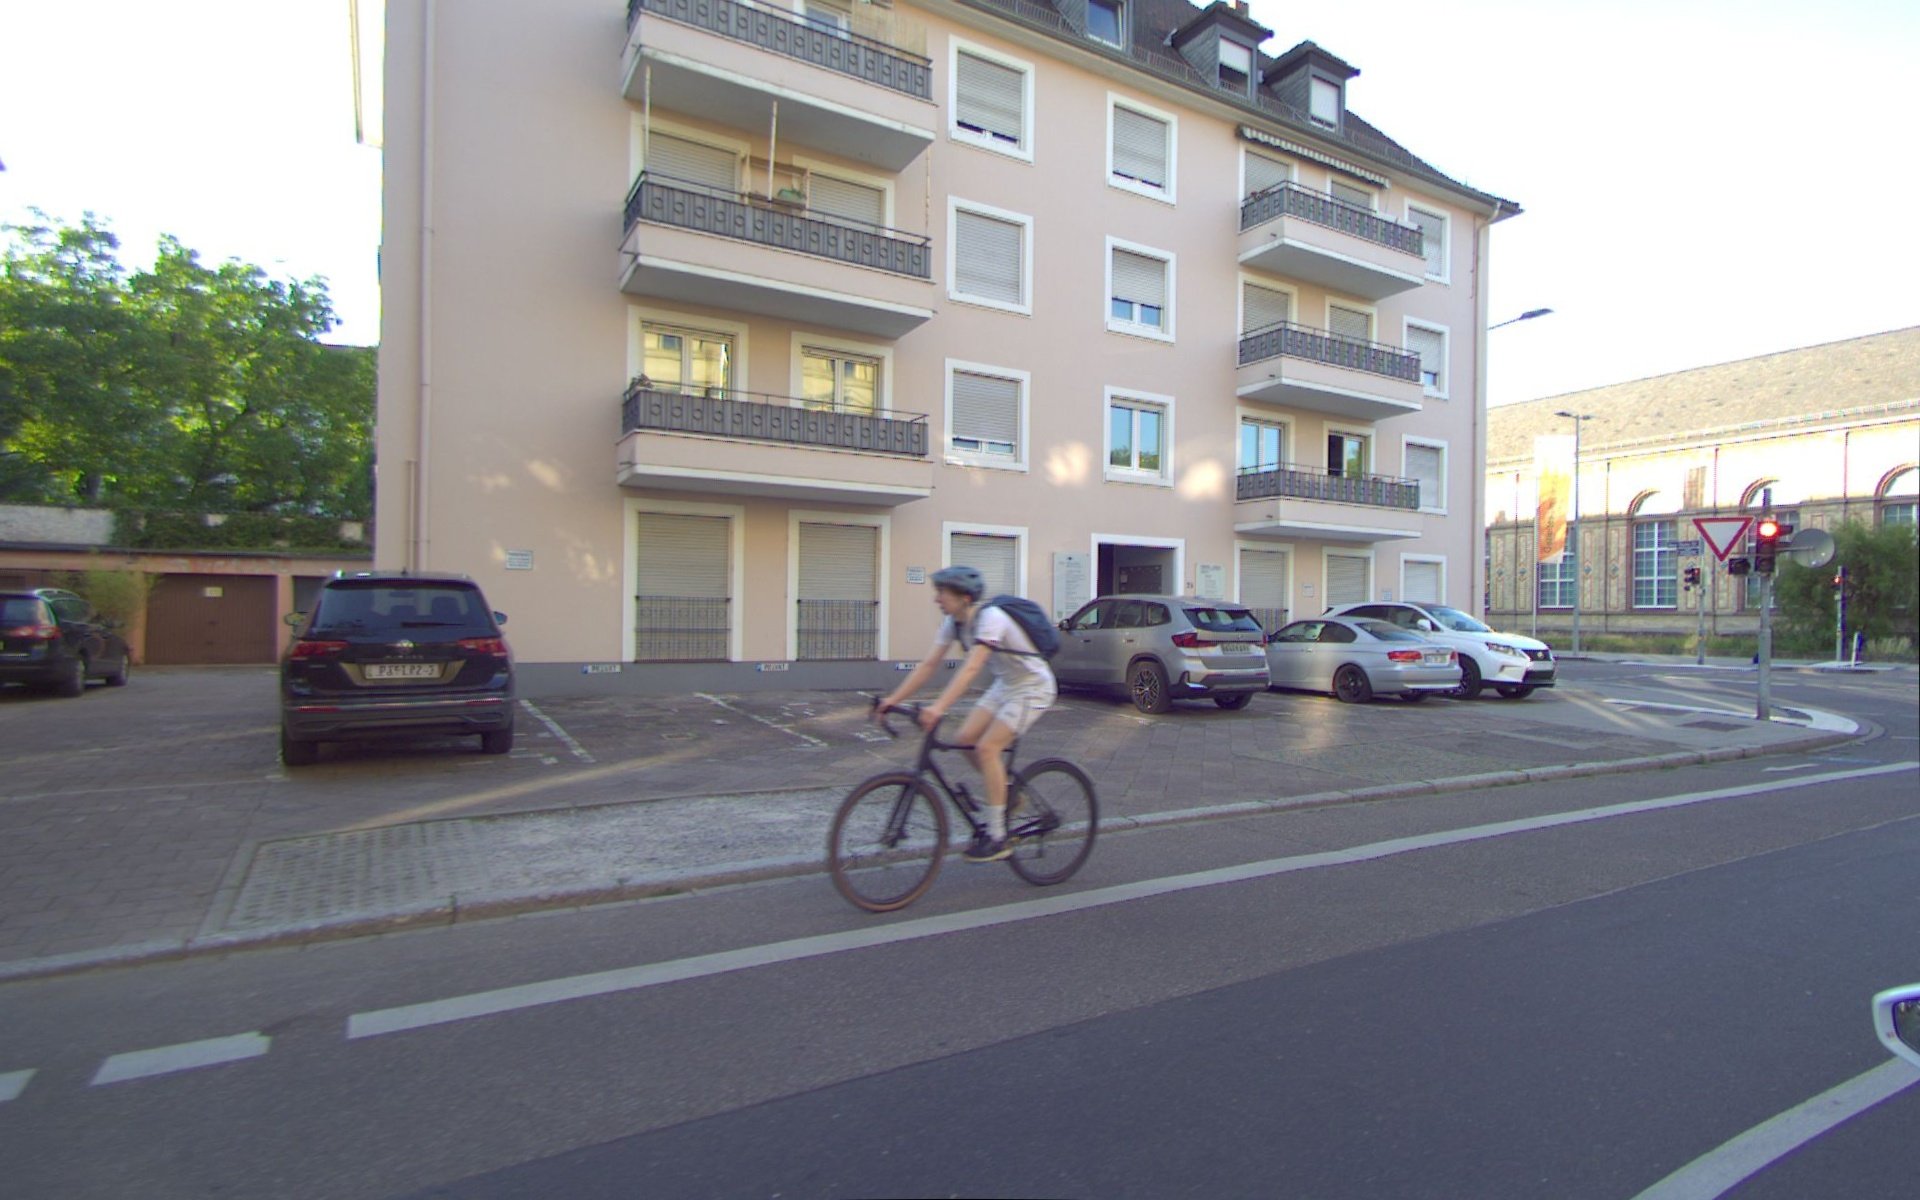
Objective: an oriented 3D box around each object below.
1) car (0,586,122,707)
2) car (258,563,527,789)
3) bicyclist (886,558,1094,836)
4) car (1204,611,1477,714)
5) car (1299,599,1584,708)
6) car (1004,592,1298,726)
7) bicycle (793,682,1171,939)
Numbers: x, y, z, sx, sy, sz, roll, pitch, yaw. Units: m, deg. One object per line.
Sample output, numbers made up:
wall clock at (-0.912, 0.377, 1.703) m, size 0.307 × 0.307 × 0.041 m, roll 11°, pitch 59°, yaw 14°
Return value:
car at (-13.707, 0.614, 14.558) m, size 1.866 × 1.576 × 3.778 m, roll 1°, pitch -1°, yaw -32°
car at (-5.573, 0.527, 9.860) m, size 1.843 × 1.687 × 4.395 m, roll 1°, pitch 1°, yaw -31°
bicyclist at (0.160, 0.505, 5.512) m, size 0.918 × 1.382 × 0.622 m, roll 3°, pitch -1°, yaw -30°
car at (6.392, 0.970, 17.370) m, size 1.716 × 1.399 × 4.244 m, roll 1°, pitch 1°, yaw -31°
car at (8.734, 0.875, 18.633) m, size 1.920 × 1.663 × 4.417 m, roll 1°, pitch 1°, yaw -31°
car at (2.667, 0.744, 15.112) m, size 1.894 × 1.627 × 4.395 m, roll 1°, pitch 1°, yaw -31°
bicycle at (0.170, 1.057, 5.518) m, size 2.029 × 1.171 × 0.622 m, roll 3°, pitch -2°, yaw -31°
